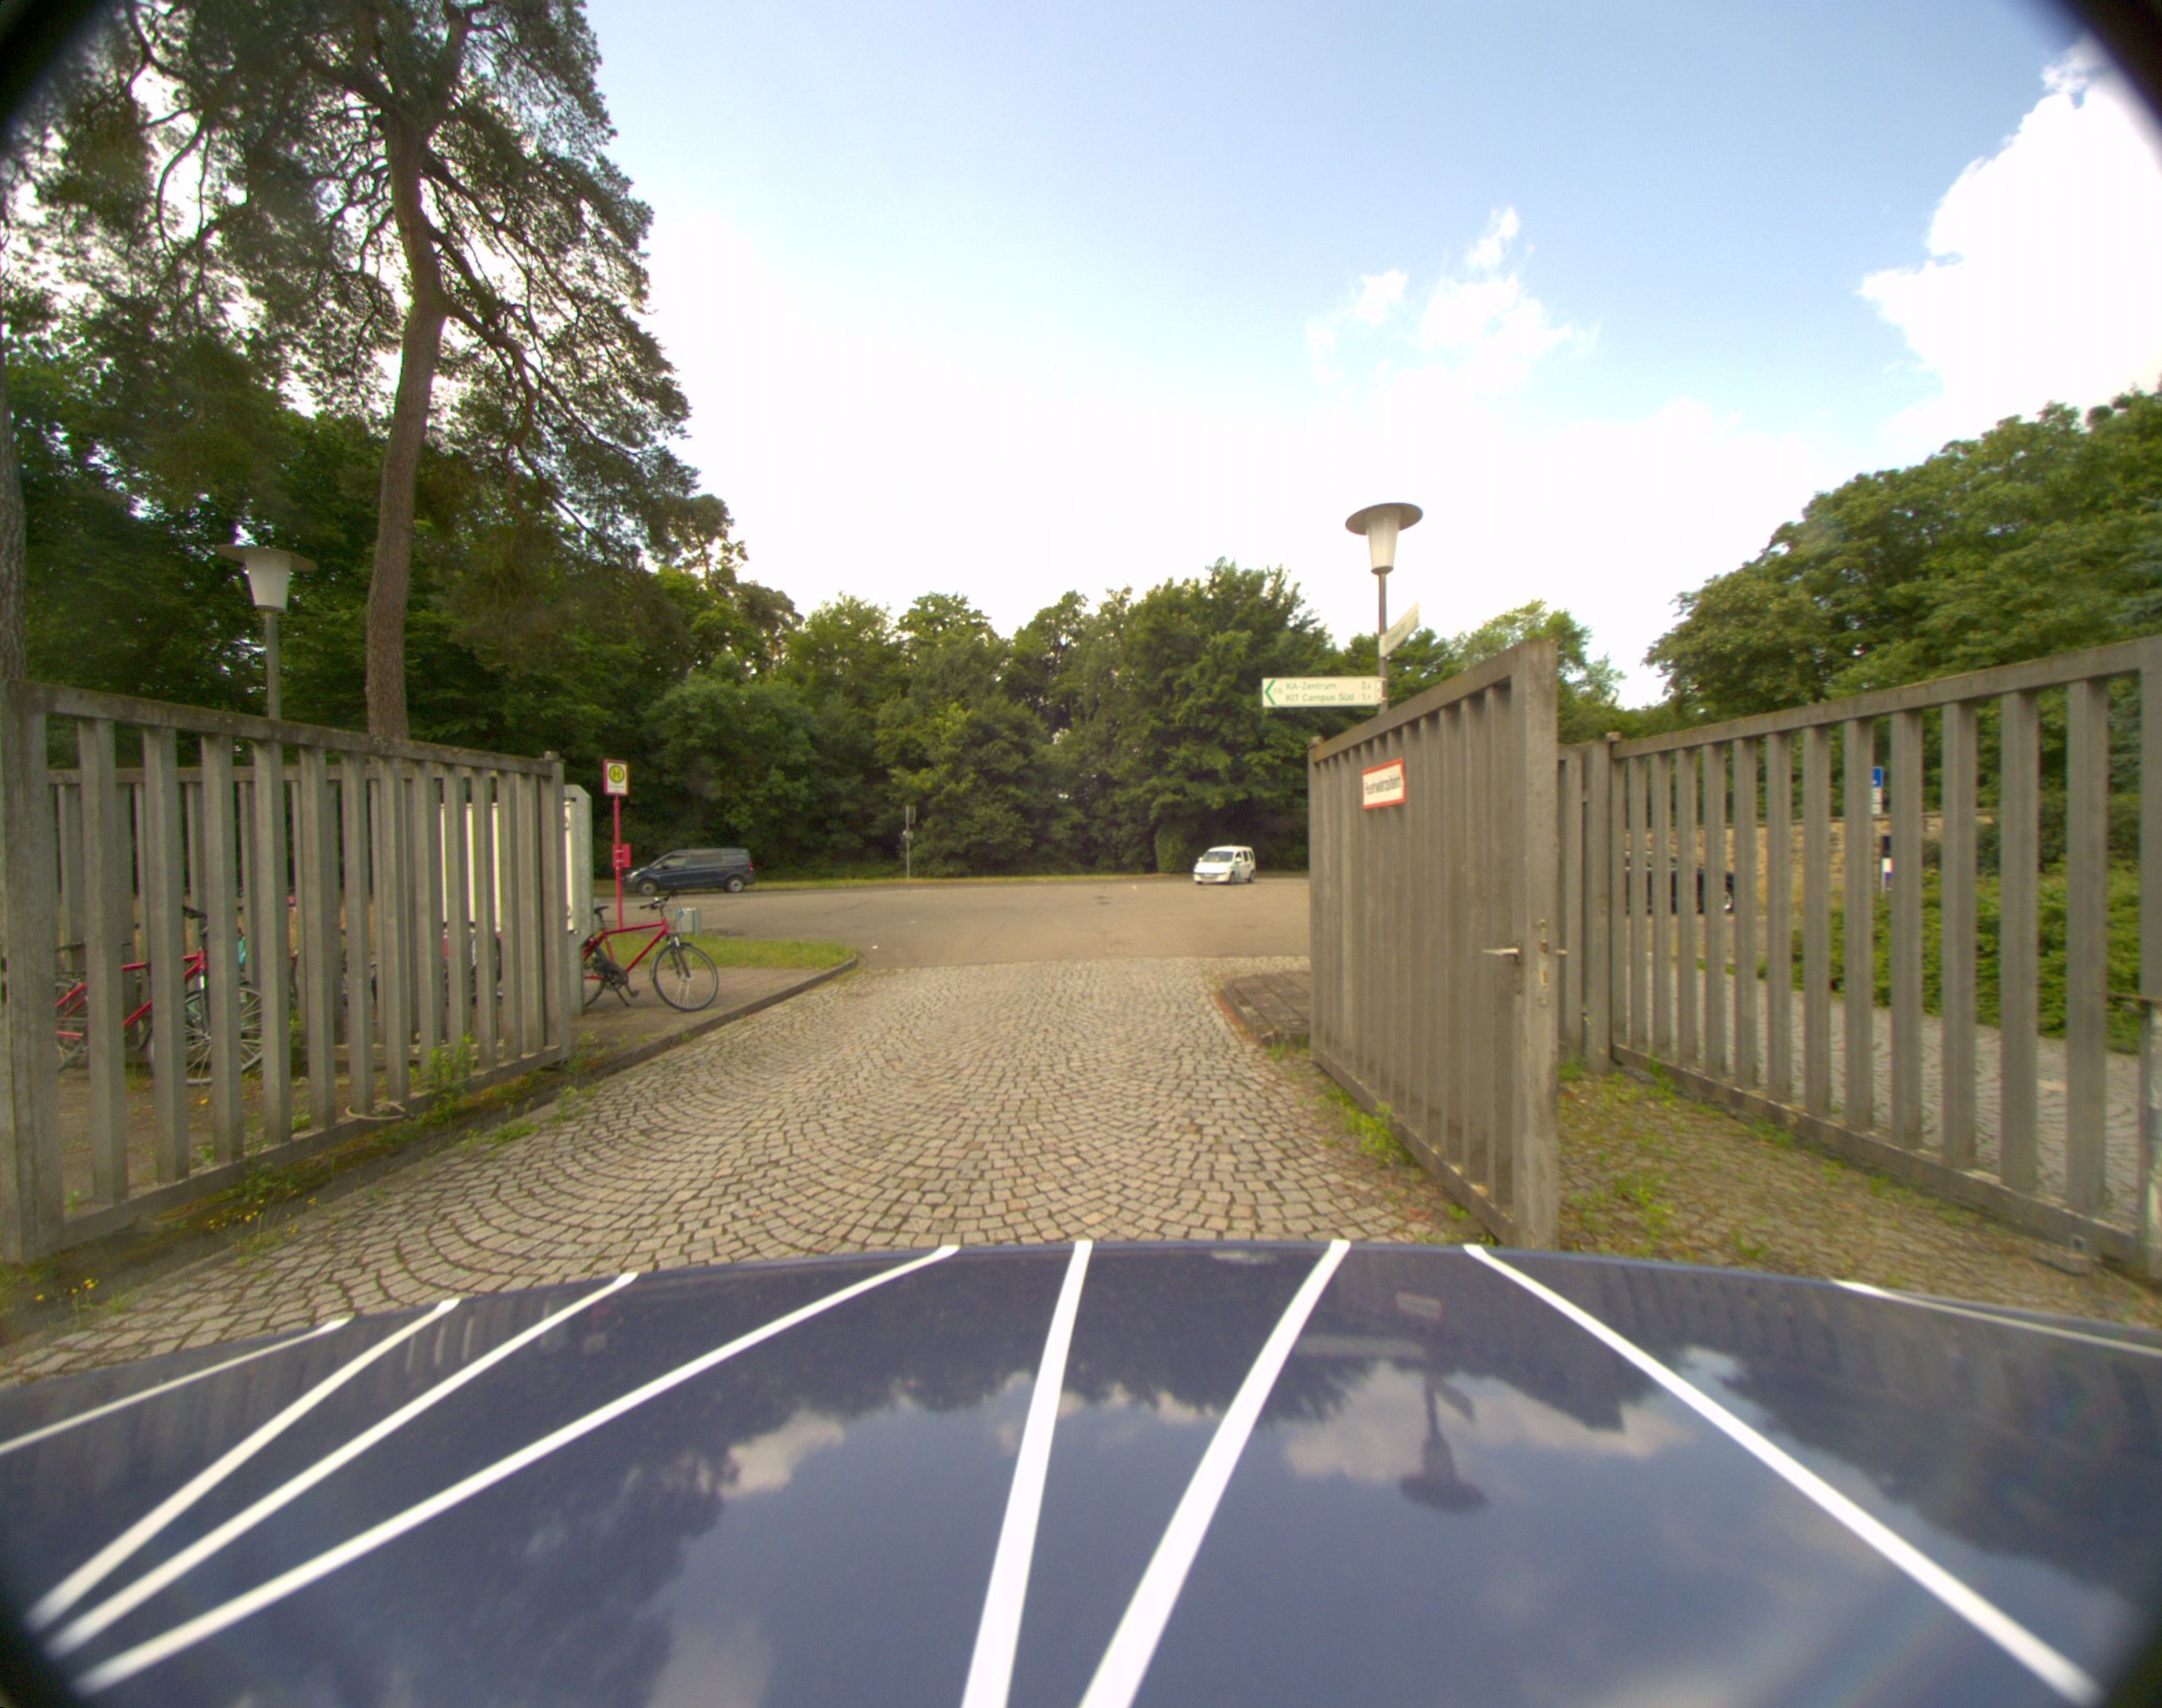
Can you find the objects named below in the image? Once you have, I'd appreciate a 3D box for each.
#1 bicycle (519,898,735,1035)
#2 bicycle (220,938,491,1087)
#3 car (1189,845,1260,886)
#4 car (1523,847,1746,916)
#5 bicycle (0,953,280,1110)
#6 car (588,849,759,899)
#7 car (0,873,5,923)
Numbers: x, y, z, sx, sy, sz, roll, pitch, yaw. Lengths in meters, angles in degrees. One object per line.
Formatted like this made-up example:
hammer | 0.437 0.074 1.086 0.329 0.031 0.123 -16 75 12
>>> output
bicycle | -4.412 1.068 7.498 1.655 1.223 0.749 0 1 -6
bicycle | -5.480 1.183 5.768 1.730 1.027 0.387 0 1 2
car | 6.992 0.490 36.683 1.862 1.749 4.157 1 2 33
car | 13.313 0.638 18.502 3.995 1.509 1.803 -1 1 7
bicycle | -6.676 1.176 5.140 1.868 0.934 0.503 0 1 -4
car | -16.543 0.737 31.054 5.956 1.825 1.995 -1 1 -31
car | -32.313 1.305 20.770 2.889 1.437 1.651 -1 1 -30
